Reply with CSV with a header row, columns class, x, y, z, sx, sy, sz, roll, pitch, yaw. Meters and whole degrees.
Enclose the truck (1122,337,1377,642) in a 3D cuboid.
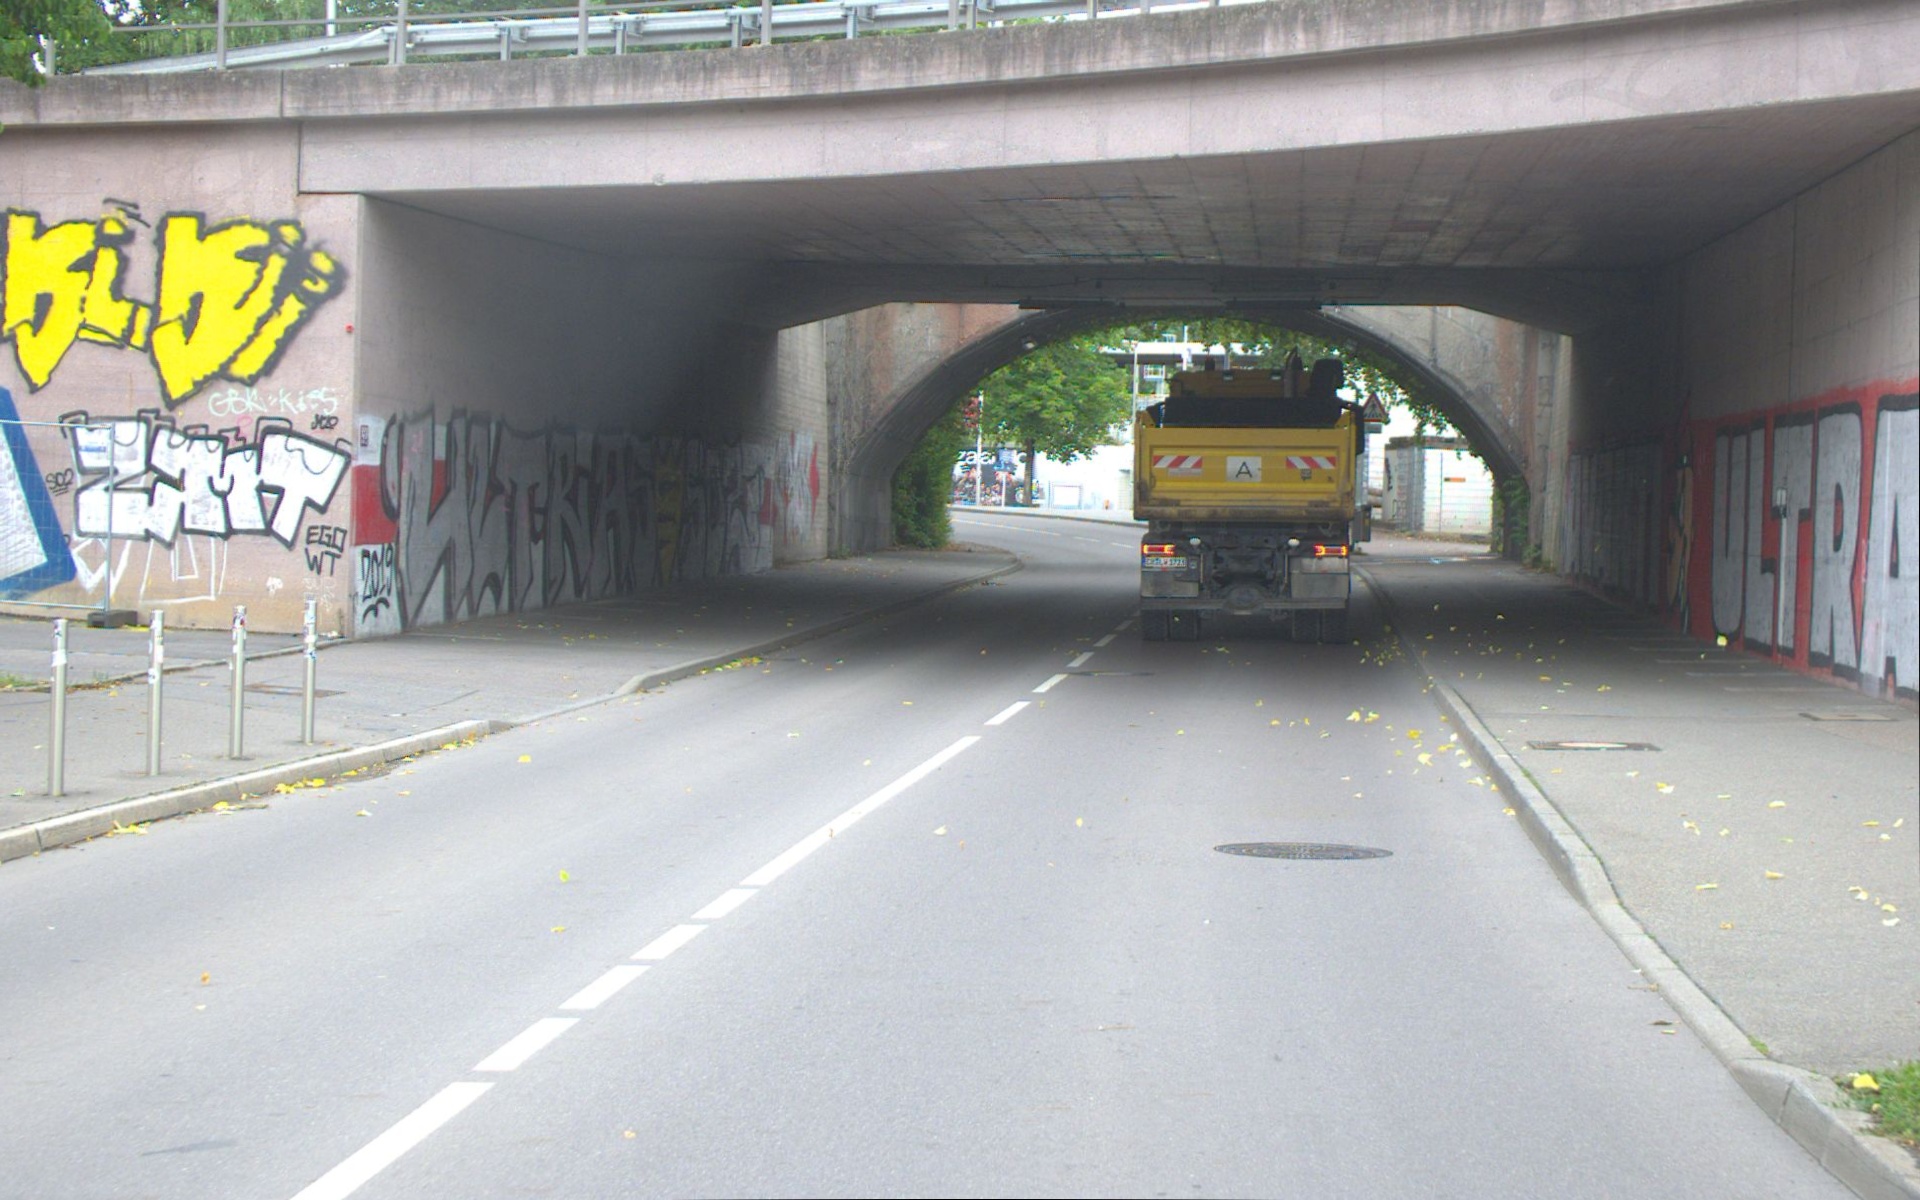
class,x,y,z,sx,sy,sz,roll,pitch,yaw
truck,3.796,-1.413,43.406,2.765,3.471,8.127,1,2,8
